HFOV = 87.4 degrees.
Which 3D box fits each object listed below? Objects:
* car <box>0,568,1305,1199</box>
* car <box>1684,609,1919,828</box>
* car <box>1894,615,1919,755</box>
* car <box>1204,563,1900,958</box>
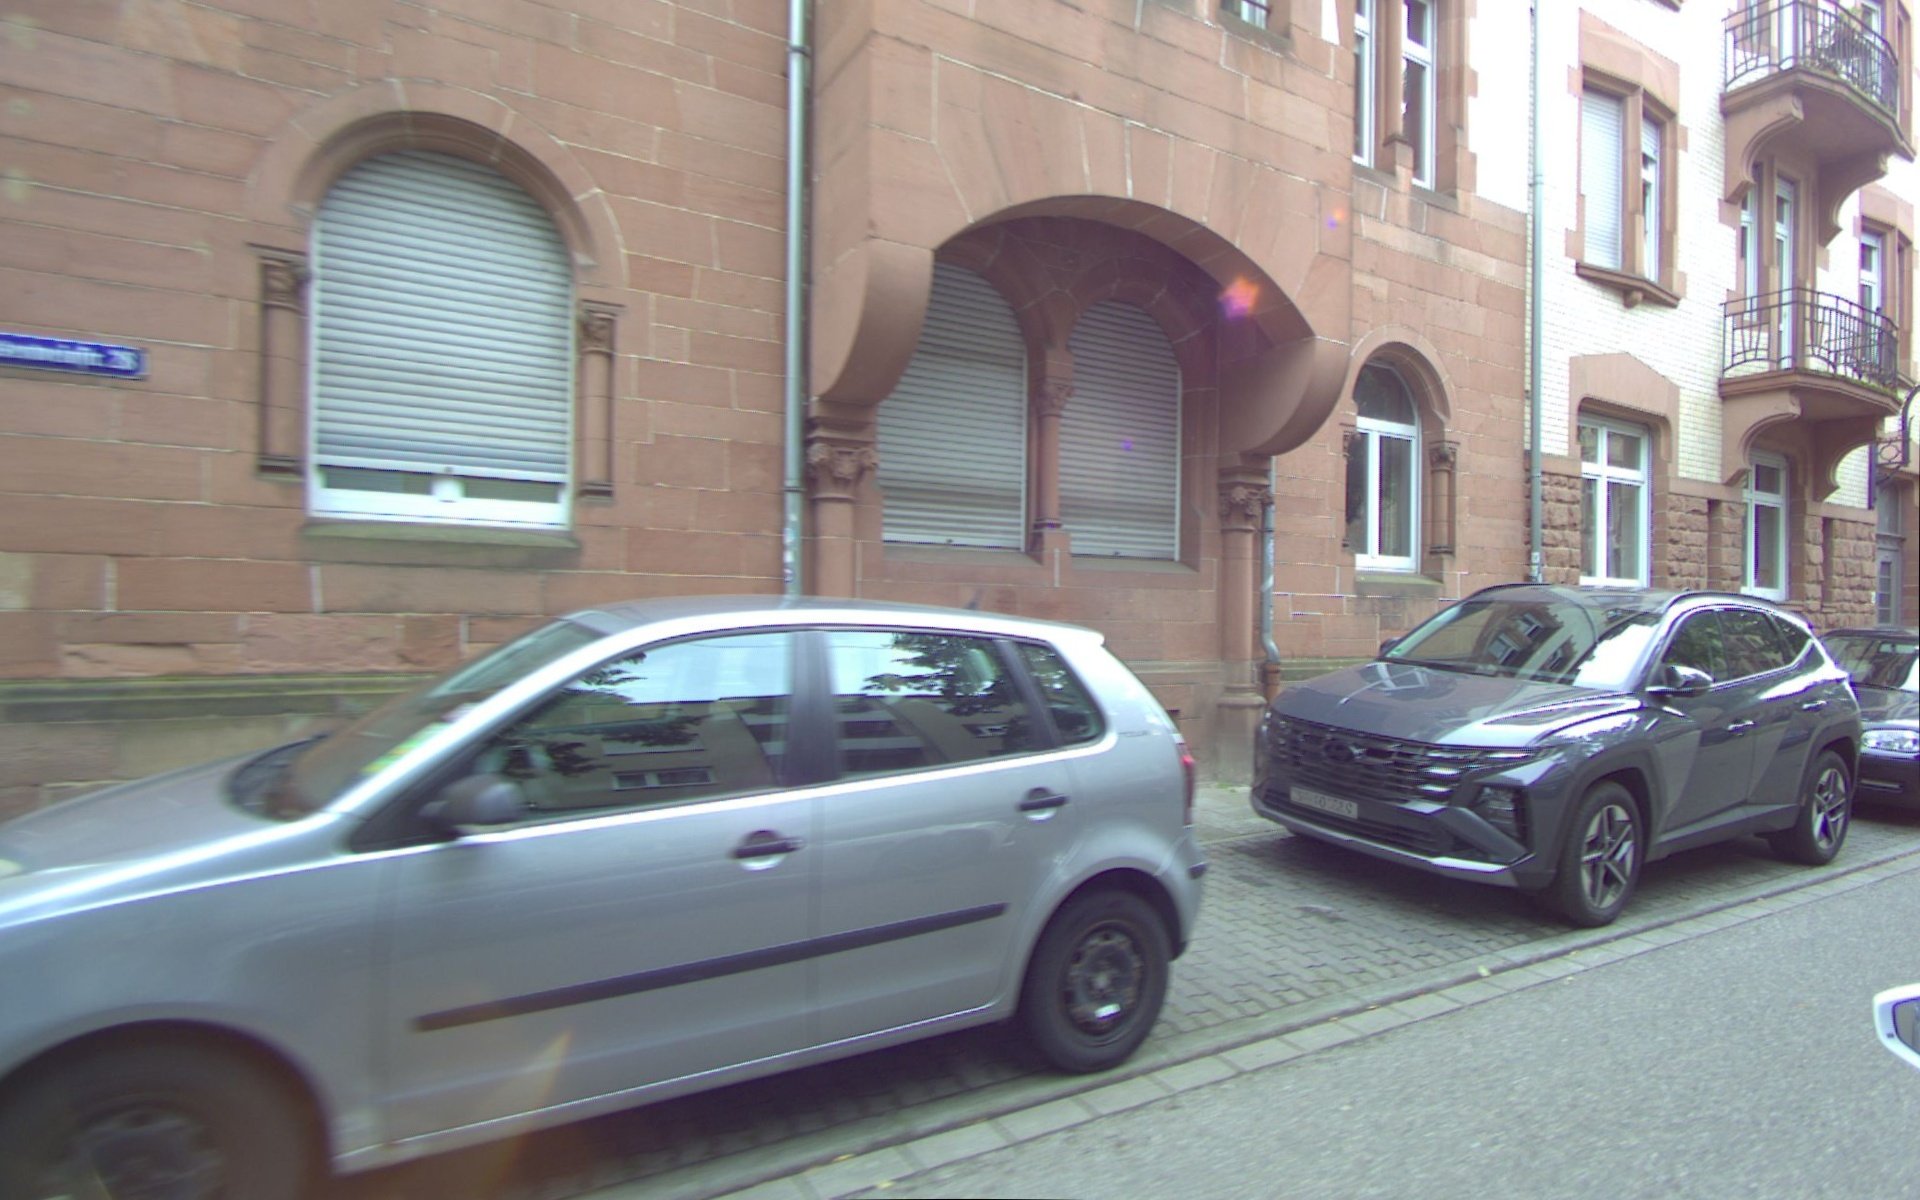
[{"bbox_3d":[-0.868,0.678,3.290,3.883,1.440,1.654,1,1,-31],"label":"car"},{"bbox_3d":[8.140,0.927,8.638,3.954,1.492,1.626,3,0,-31],"label":"car"},{"bbox_3d":[12.285,1.011,11.196,3.954,1.492,1.659,3,0,-31],"label":"car"},{"bbox_3d":[3.715,0.703,6.110,4.311,1.669,1.777,1,1,-31],"label":"car"}]
